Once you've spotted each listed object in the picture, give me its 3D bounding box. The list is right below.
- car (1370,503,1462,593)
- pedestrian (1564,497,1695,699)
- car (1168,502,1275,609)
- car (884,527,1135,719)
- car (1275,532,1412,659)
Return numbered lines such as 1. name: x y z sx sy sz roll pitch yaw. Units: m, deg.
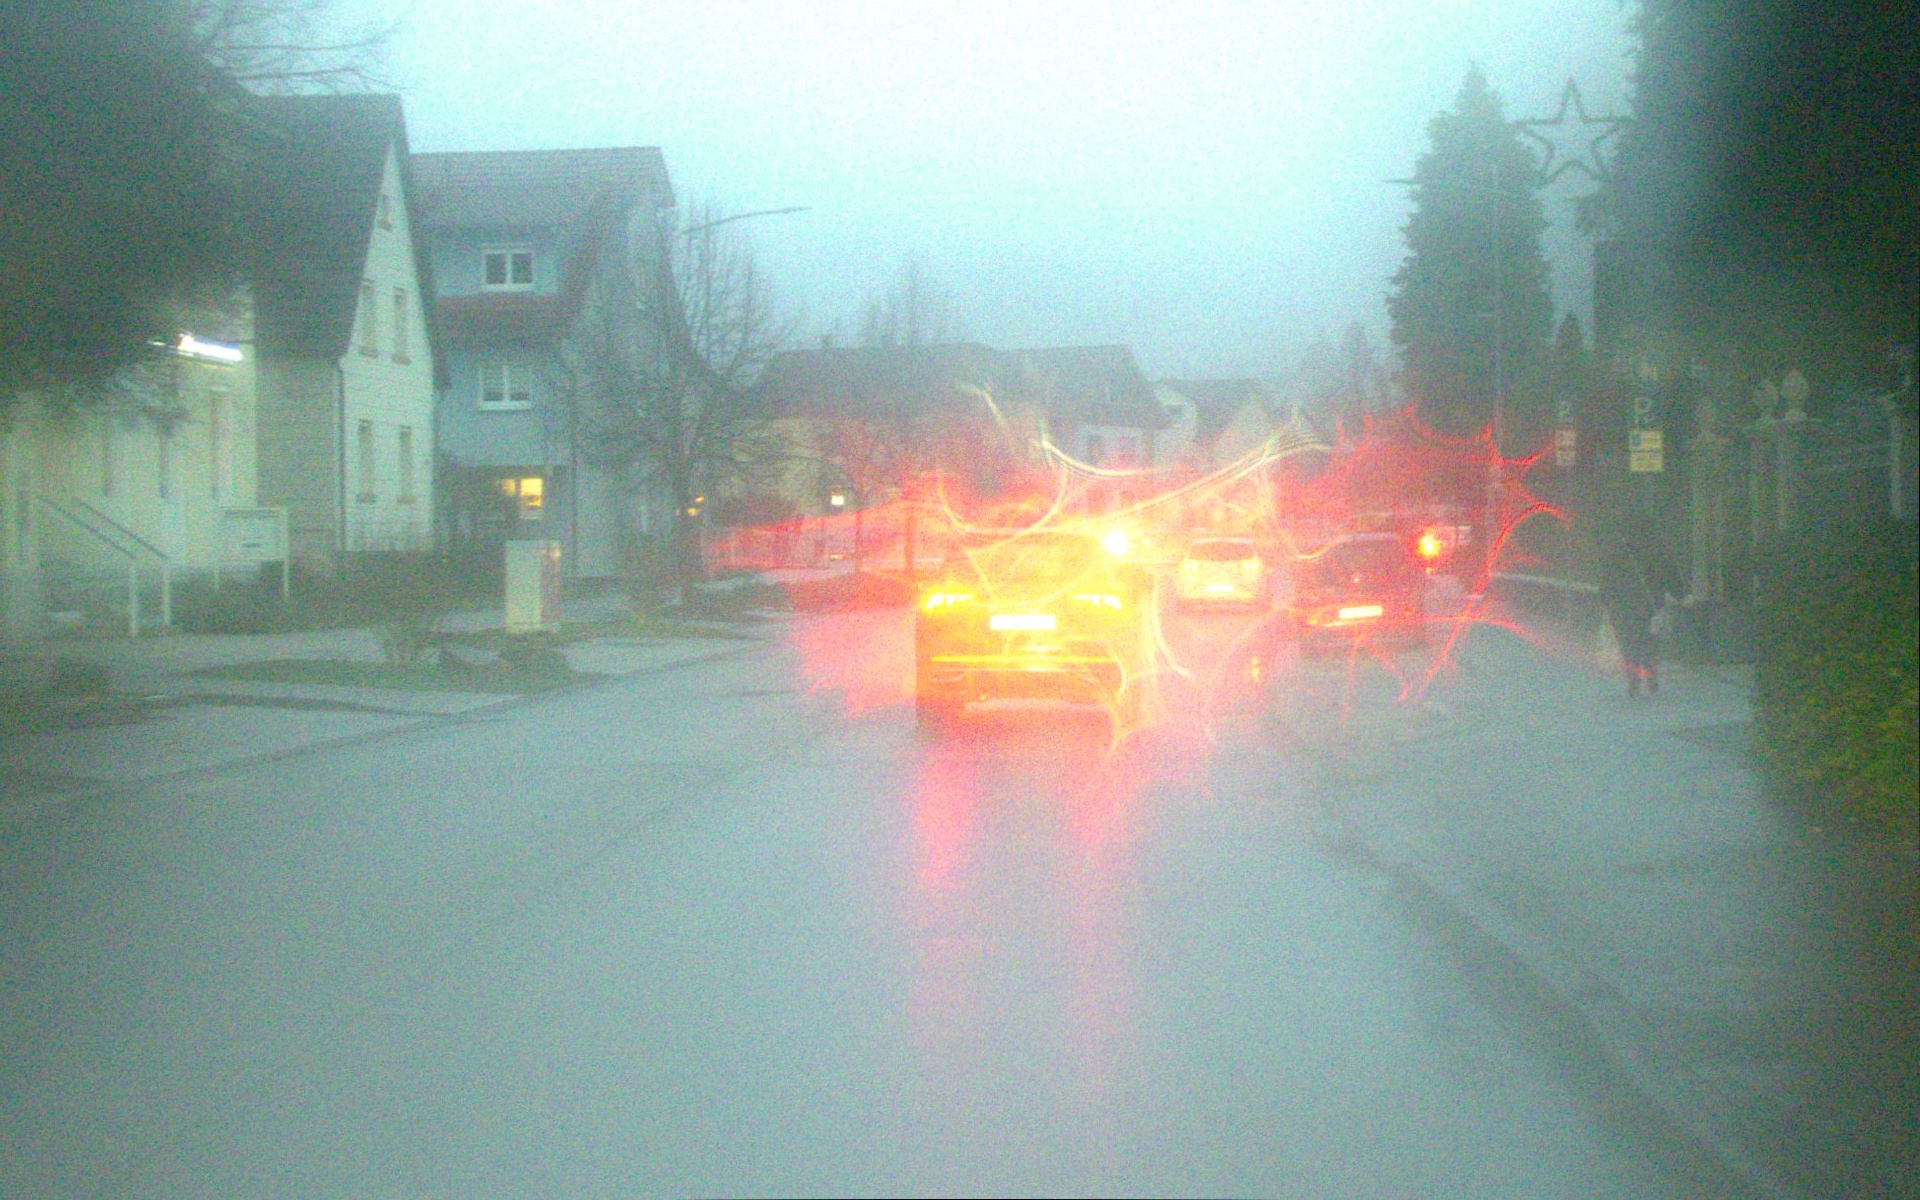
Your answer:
1. car: 11.148 -1.302 83.757 1.978 2.007 5.743 -3 1 9
2. pedestrian: 5.981 -0.026 30.781 0.987 1.736 1.056 -2 1 6
3. car: 5.072 -0.859 66.794 1.994 2.007 3.999 0 1 4
4. car: 0.458 0.142 29.252 1.993 1.520 4.000 0 1 2
5. car: 4.908 -0.087 43.994 1.649 1.535 3.390 1 1 6
